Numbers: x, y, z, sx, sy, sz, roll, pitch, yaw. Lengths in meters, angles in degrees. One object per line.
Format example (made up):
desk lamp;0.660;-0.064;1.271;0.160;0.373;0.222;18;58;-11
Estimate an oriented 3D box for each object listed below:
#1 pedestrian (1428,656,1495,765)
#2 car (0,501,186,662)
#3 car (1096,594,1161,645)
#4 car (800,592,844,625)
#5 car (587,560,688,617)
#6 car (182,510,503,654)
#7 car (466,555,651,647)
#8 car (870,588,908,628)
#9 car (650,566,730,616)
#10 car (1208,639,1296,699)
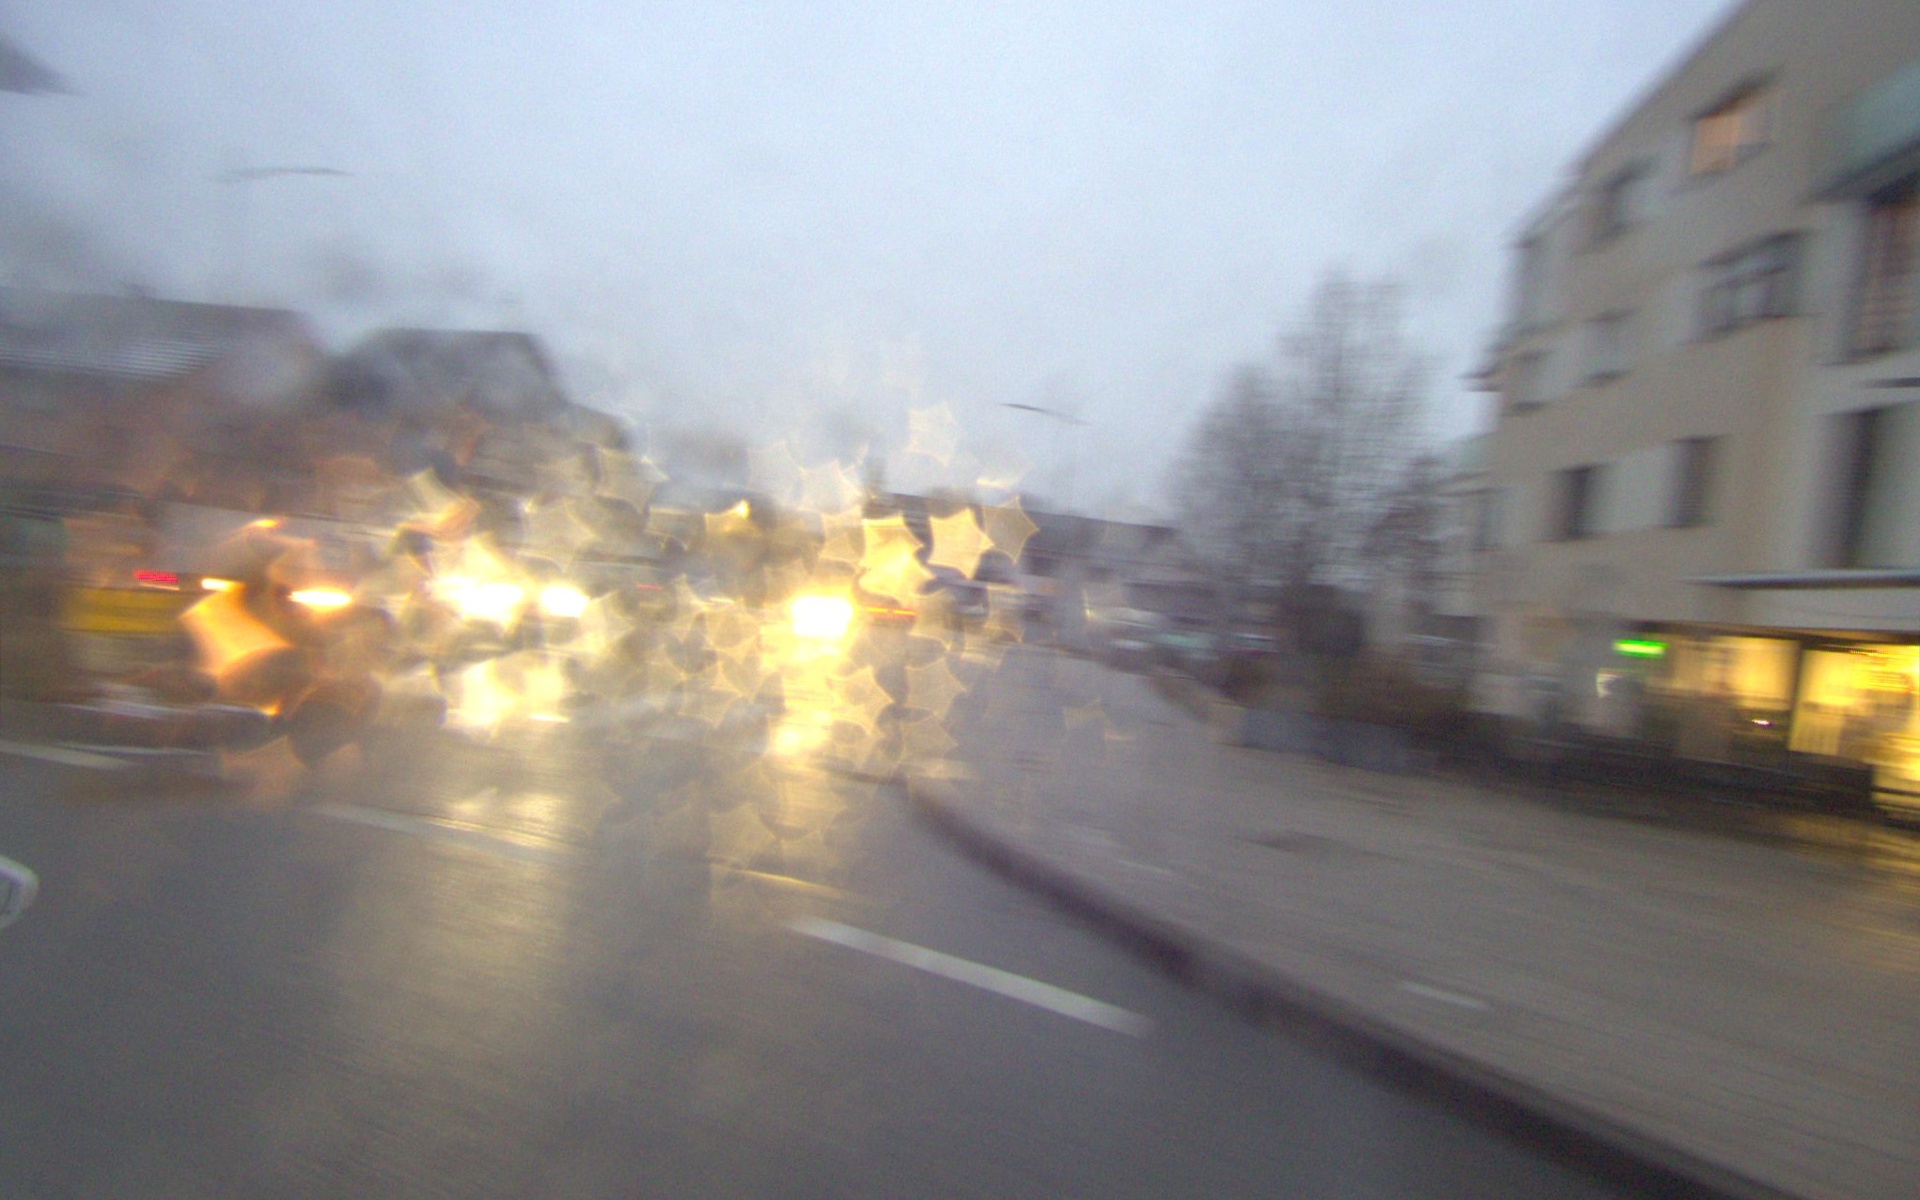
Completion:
pedestrian;7.237;1.584;14.531;0.543;1.473;0.451;7;1;-5
car;-9.285;-0.249;8.476;1.815;1.401;4.237;5;-1;8
car;7.973;0.925;48.152;2.173;2.038;4.860;7;-1;1
car;-7.480;0.439;54.903;1.848;1.471;3.998;8;0;-2
car;-10.218;-0.329;32.138;1.695;1.483;3.710;8;0;3
car;-8.430;-0.181;14.221;1.664;1.571;4.001;7;0;6
car;-8.095;0.055;20.760;1.664;1.526;4.259;6;0;5
car;-4.109;0.452;57.989;1.963;2.039;4.897;4;0;-4
car;-9.998;-0.303;37.532;1.642;1.569;3.718;8;0;3
car;9.433;2.191;32.755;1.683;1.535;3.768;7;-1;1
